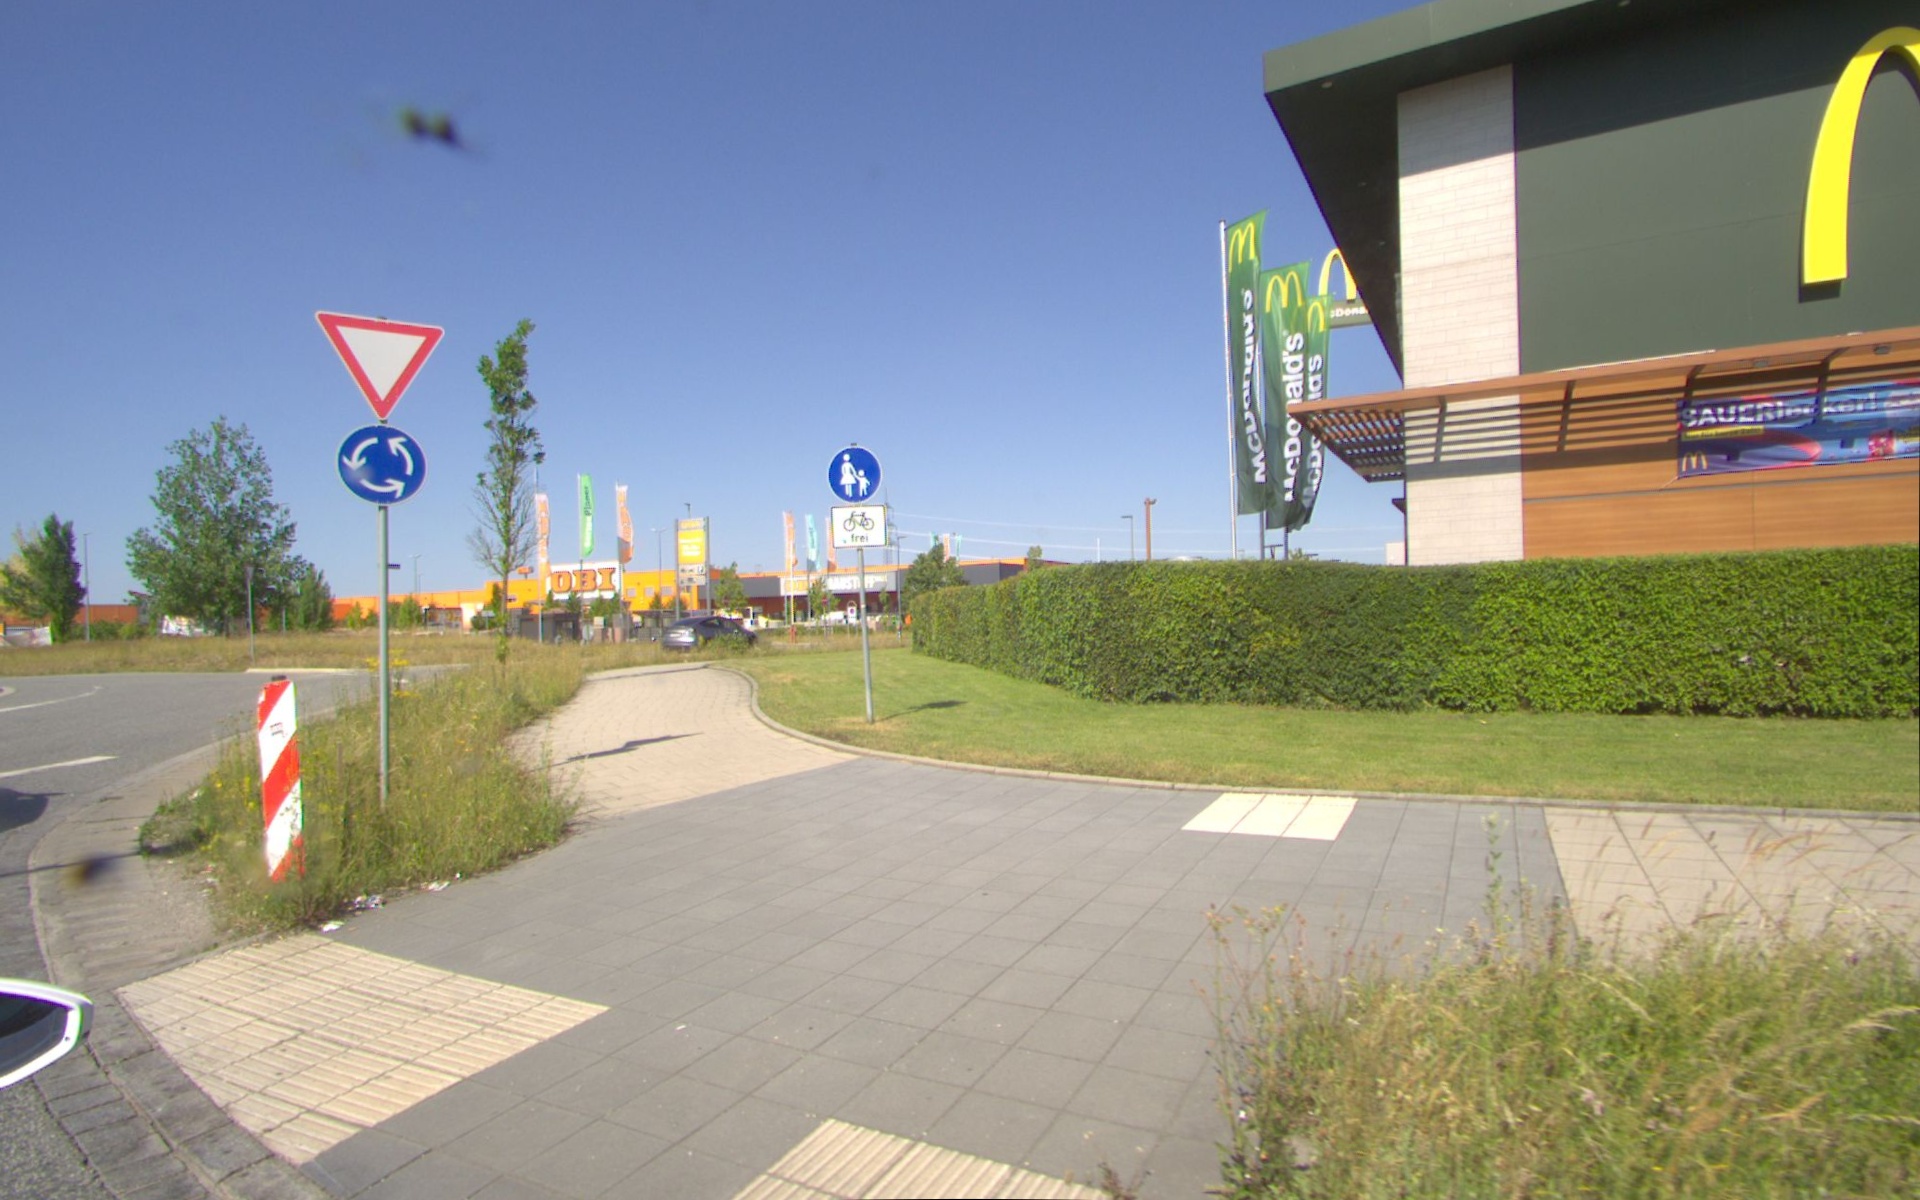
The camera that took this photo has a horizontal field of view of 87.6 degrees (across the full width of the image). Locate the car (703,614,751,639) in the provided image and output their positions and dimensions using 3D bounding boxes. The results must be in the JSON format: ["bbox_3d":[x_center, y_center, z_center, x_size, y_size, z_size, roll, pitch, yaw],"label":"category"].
[{"bbox_3d":[-18.065,2.083,77.720,1.673,1.864,3.765,-2,-3,24],"label":"car"}]

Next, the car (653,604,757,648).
[{"bbox_3d":[-10.036,1.012,39.722,1.802,1.605,4.155,-2,0,24],"label":"car"}]
